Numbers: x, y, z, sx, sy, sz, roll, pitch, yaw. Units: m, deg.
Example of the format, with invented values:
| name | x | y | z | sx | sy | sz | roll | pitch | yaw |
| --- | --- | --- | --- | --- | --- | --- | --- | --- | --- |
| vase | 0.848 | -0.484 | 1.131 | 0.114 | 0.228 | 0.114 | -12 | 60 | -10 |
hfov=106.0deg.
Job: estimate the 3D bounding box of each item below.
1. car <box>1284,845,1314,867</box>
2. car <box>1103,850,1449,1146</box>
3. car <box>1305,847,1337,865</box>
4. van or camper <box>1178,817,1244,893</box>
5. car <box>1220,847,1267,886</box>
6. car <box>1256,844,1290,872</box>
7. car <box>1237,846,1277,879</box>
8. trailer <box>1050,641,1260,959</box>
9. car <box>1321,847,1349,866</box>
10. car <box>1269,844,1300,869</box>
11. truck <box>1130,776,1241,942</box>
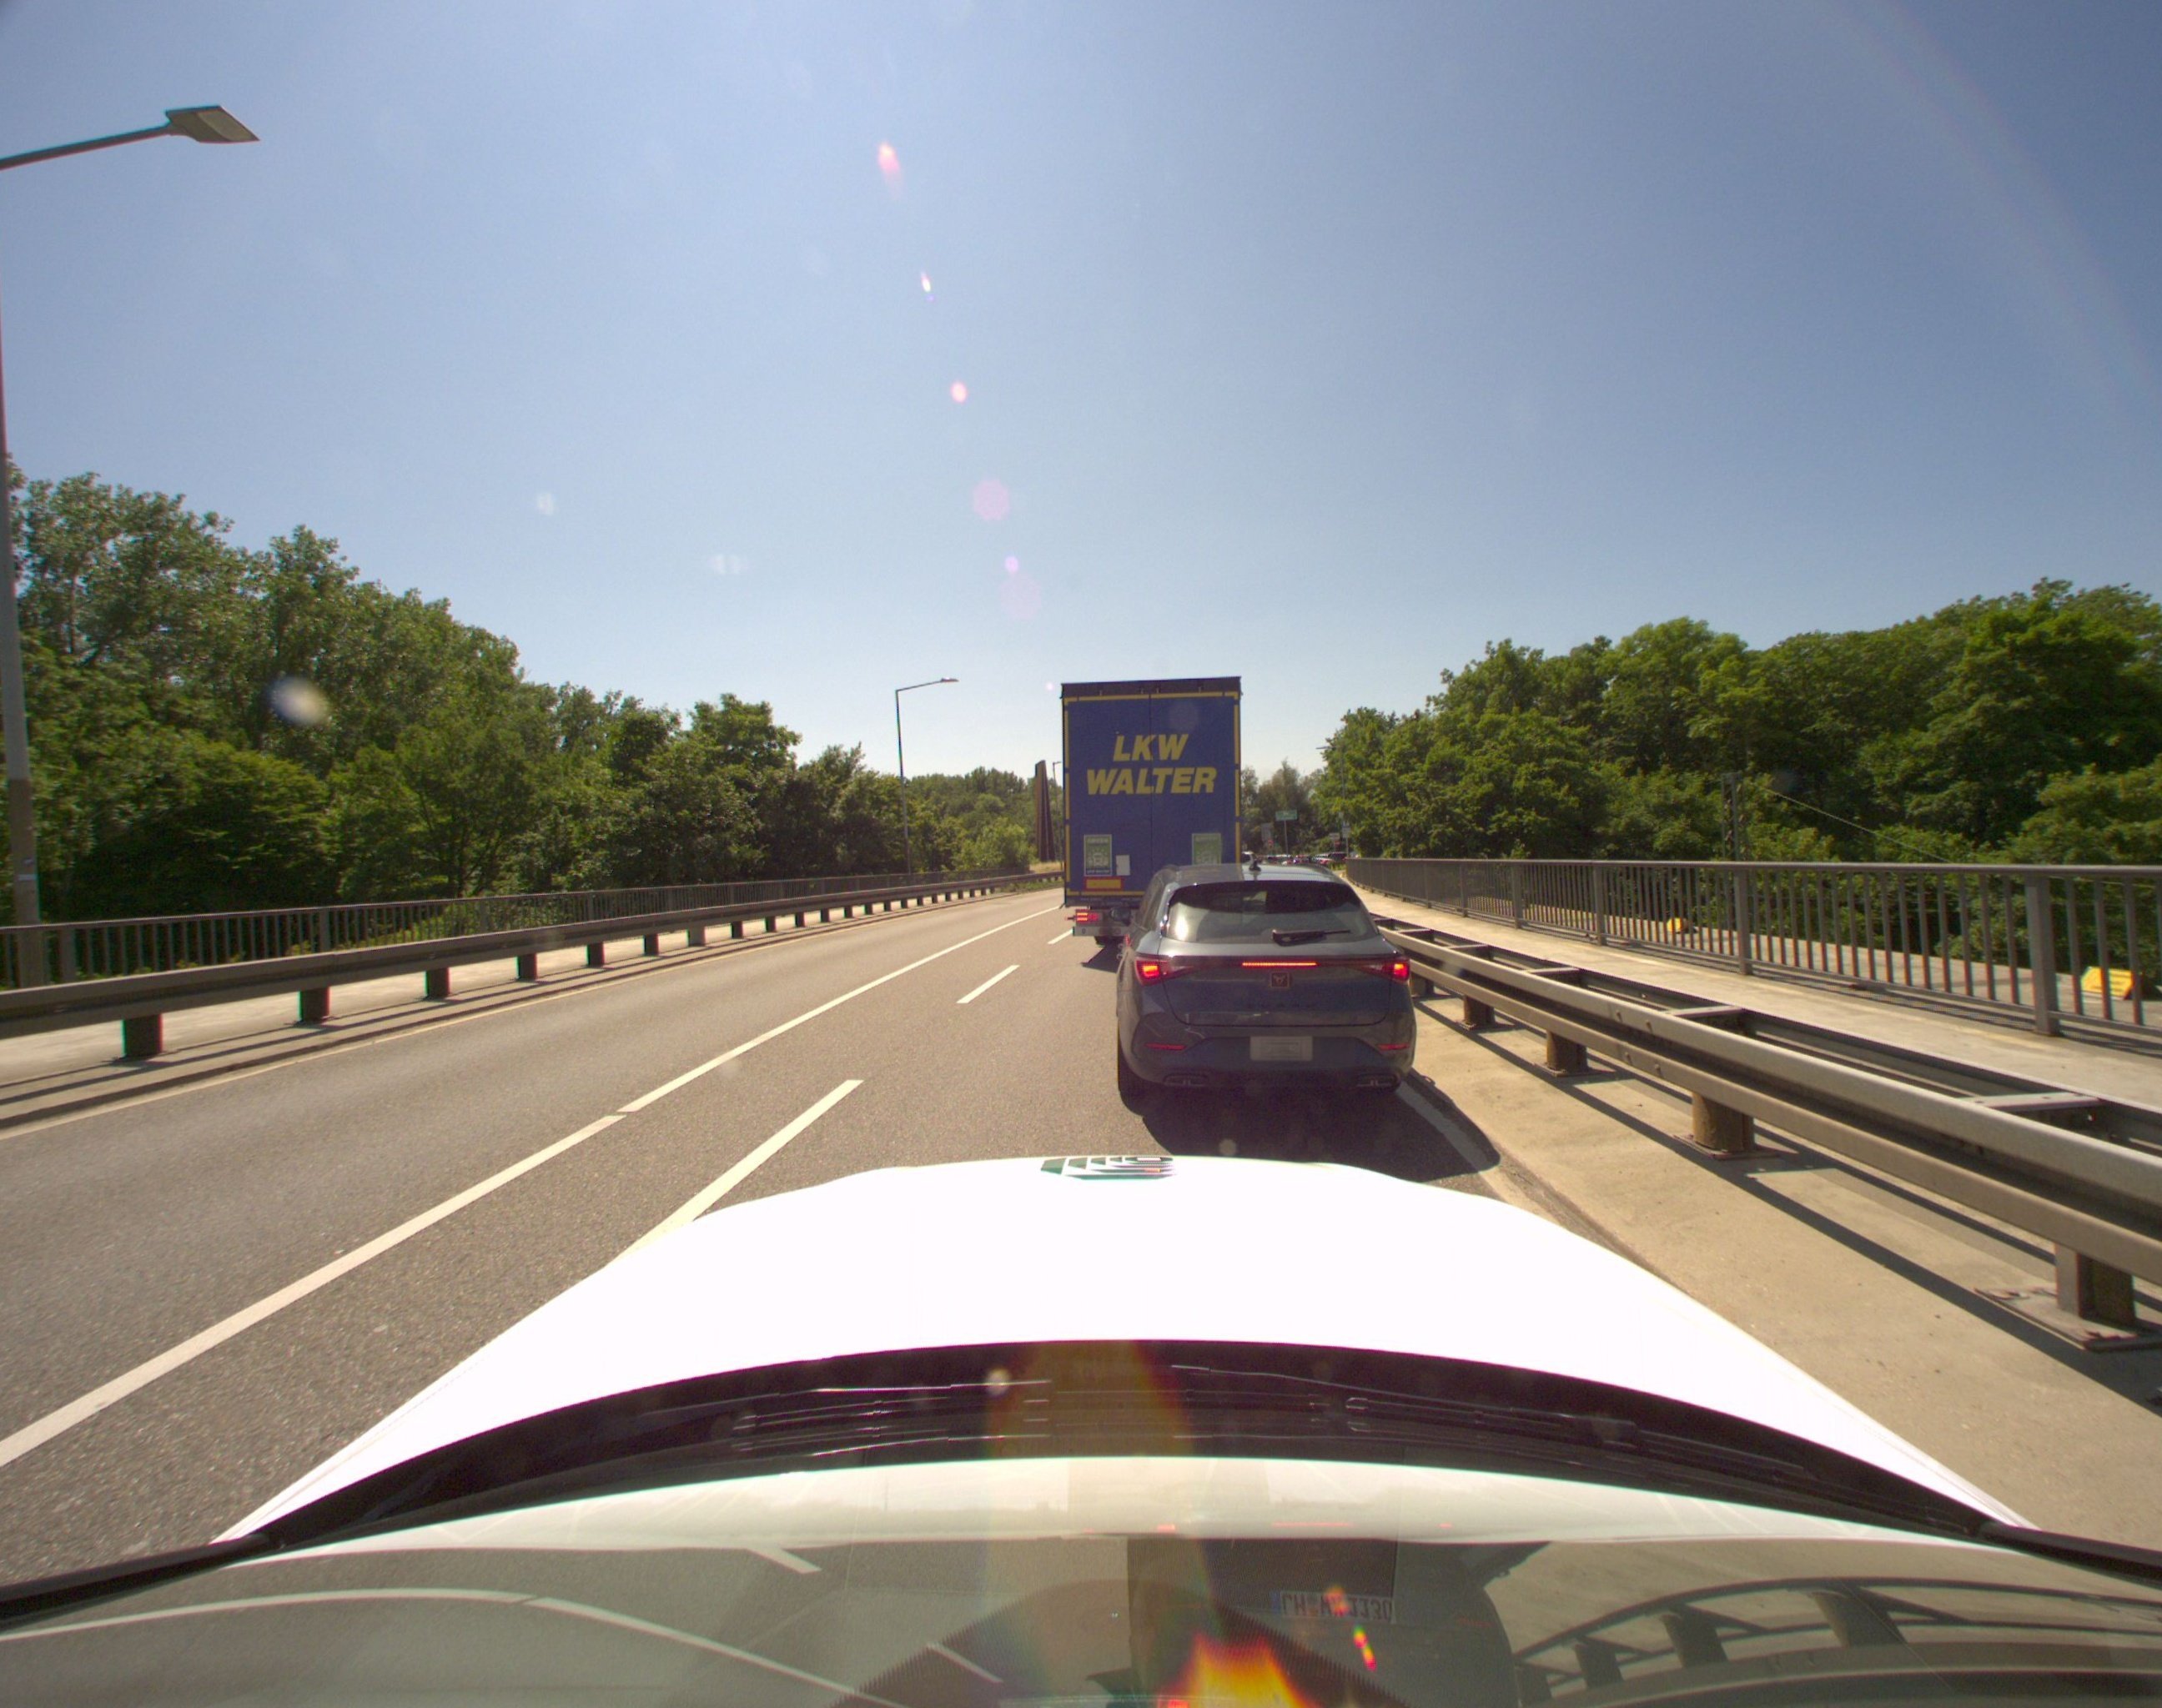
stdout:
| name | x | y | z | sx | sy | sz | roll | pitch | yaw |
| --- | --- | --- | --- | --- | --- | --- | --- | --- | --- |
| car | 18.235 | 0.203 | 67.890 | 1.670 | 1.760 | 4.023 | -1 | -1 | 25 |
| car | 1.106 | 0.731 | 6.038 | 1.669 | 1.456 | 3.963 | -1 | 0 | 4 |
| car | 21.823 | 0.206 | 74.065 | 1.975 | 1.575 | 4.024 | 0 | -1 | 28 |
| van or camper | 5.493 | 0.019 | 33.644 | 2.139 | 2.815 | 6.411 | -1 | 0 | 14 |
| car | 8.229 | 0.598 | 40.955 | 1.706 | 1.844 | 4.020 | -1 | 0 | 20 |
| car | 13.060 | 0.239 | 55.231 | 1.706 | 1.844 | 4.021 | -1 | 0 | 21 |
| car | 10.258 | 0.480 | 47.230 | 1.706 | 1.802 | 4.020 | -1 | 0 | 20 |
| trailer | 2.057 | -0.747 | 17.674 | 2.887 | 4.418 | 12.466 | -1 | 0 | 10 |
| car | 24.964 | 0.283 | 79.954 | 1.669 | 1.760 | 4.025 | -2 | -1 | 30 |
| car | 15.349 | 0.171 | 61.313 | 1.706 | 1.844 | 4.021 | -1 | 0 | 21 |
| truck | 3.341 | 0.140 | 25.122 | 2.887 | 4.418 | 6.573 | -1 | 0 | 10 |
